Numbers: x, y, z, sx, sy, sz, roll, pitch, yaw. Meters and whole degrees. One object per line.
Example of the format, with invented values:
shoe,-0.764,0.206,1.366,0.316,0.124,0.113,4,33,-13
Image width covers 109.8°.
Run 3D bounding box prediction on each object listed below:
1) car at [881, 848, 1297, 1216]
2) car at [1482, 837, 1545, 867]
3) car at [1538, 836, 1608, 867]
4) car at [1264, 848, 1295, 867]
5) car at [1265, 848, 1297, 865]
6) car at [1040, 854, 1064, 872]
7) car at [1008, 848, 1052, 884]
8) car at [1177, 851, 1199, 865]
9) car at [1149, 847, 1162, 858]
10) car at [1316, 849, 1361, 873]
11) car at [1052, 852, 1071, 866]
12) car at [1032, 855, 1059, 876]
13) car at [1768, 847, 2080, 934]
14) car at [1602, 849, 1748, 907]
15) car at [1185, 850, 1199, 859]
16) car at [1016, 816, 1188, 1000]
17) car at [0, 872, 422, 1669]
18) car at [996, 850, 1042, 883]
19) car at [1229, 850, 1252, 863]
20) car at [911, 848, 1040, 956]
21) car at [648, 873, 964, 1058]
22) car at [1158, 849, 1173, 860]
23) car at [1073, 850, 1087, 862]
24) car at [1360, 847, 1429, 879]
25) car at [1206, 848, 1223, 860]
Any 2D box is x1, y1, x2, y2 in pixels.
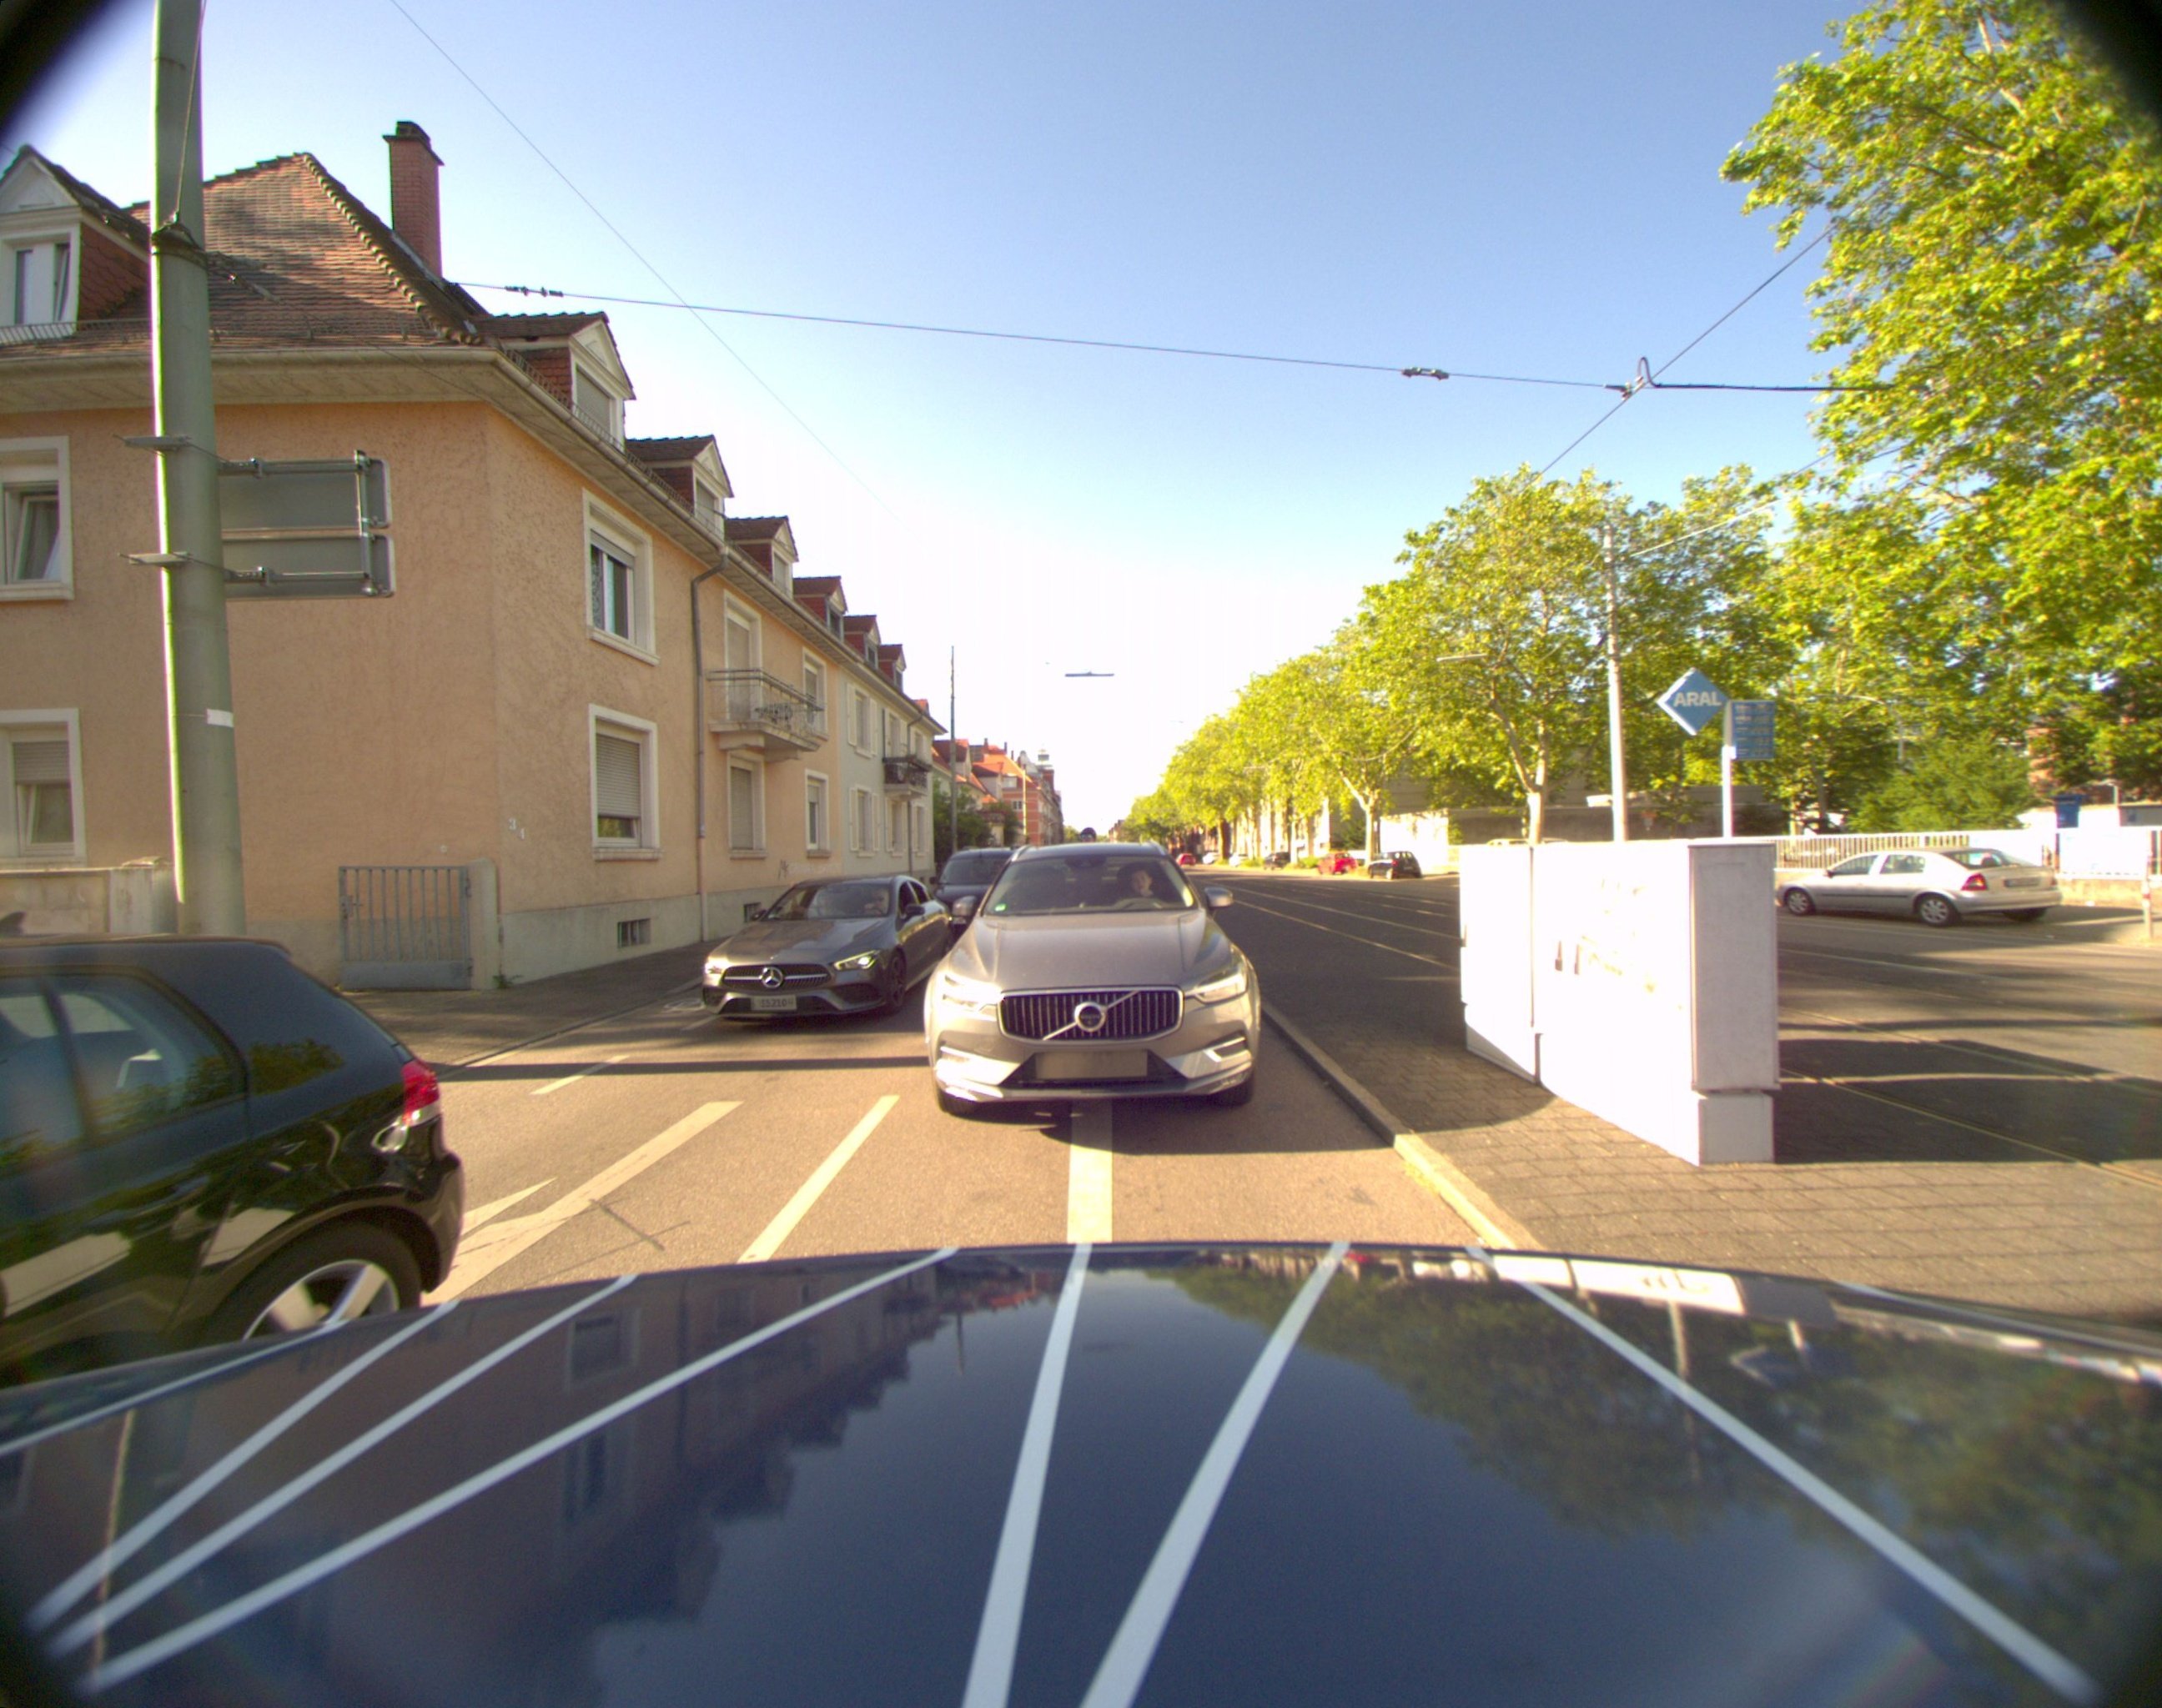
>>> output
car,0.048,0.830,5.989,1.912,1.666,4.763,-2,1,0
car,21.730,-0.114,38.283,1.545,1.412,3.151,-2,1,4
car,24.284,-0.125,37.590,1.545,1.412,3.151,-2,1,4
car,17.186,0.317,66.001,1.699,1.566,3.999,-1,1,1
car,17.304,0.224,65.920,1.699,1.401,3.999,-1,1,1
car,-2.512,0.801,67.008,1.841,1.449,3.999,-2,1,1
car,-2.910,0.618,44.965,1.937,1.888,7.210,-2,1,1
car,12.773,0.459,90.866,1.912,1.514,4.763,0,1,0
car,13.594,-0.312,138.692,1.850,1.835,4.394,-1,1,-1
car,17.037,0.430,50.417,1.699,1.460,3.999,-1,1,1
car,-2.161,0.581,85.445,1.841,1.449,3.999,-2,1,1
car,-2.809,0.884,60.599,1.841,1.449,3.999,-2,1,1
car,16.250,0.612,15.015,1.731,1.412,3.999,-2,1,1
car,16.436,0.603,21.239,1.546,1.412,3.254,-2,1,1
car,18.359,0.020,125.567,1.699,1.401,3.999,-1,1,1
car,0.249,0.595,11.131,1.912,2.048,4.763,-2,1,0
car,-2.945,0.793,0.320,1.733,1.499,4.051,-2,-1,1
car,-2.997,0.595,37.602,1.841,1.449,3.999,-2,1,1
car,17.537,0.247,83.528,1.699,1.401,3.999,-1,1,1
car,-1.964,0.813,15.621,1.866,1.794,4.778,-2,1,1
car,-2.777,1.045,8.961,1.911,1.411,4.492,-2,1,2
car,12.715,0.117,114.220,1.700,1.412,3.999,7,1,1
car,-0.135,0.268,106.497,1.841,1.449,3.999,-2,1,1
car,16.903,0.439,41.257,1.753,1.514,4.434,-5,1,-1
car,17.687,0.005,100.790,1.699,1.548,3.999,-1,1,1
